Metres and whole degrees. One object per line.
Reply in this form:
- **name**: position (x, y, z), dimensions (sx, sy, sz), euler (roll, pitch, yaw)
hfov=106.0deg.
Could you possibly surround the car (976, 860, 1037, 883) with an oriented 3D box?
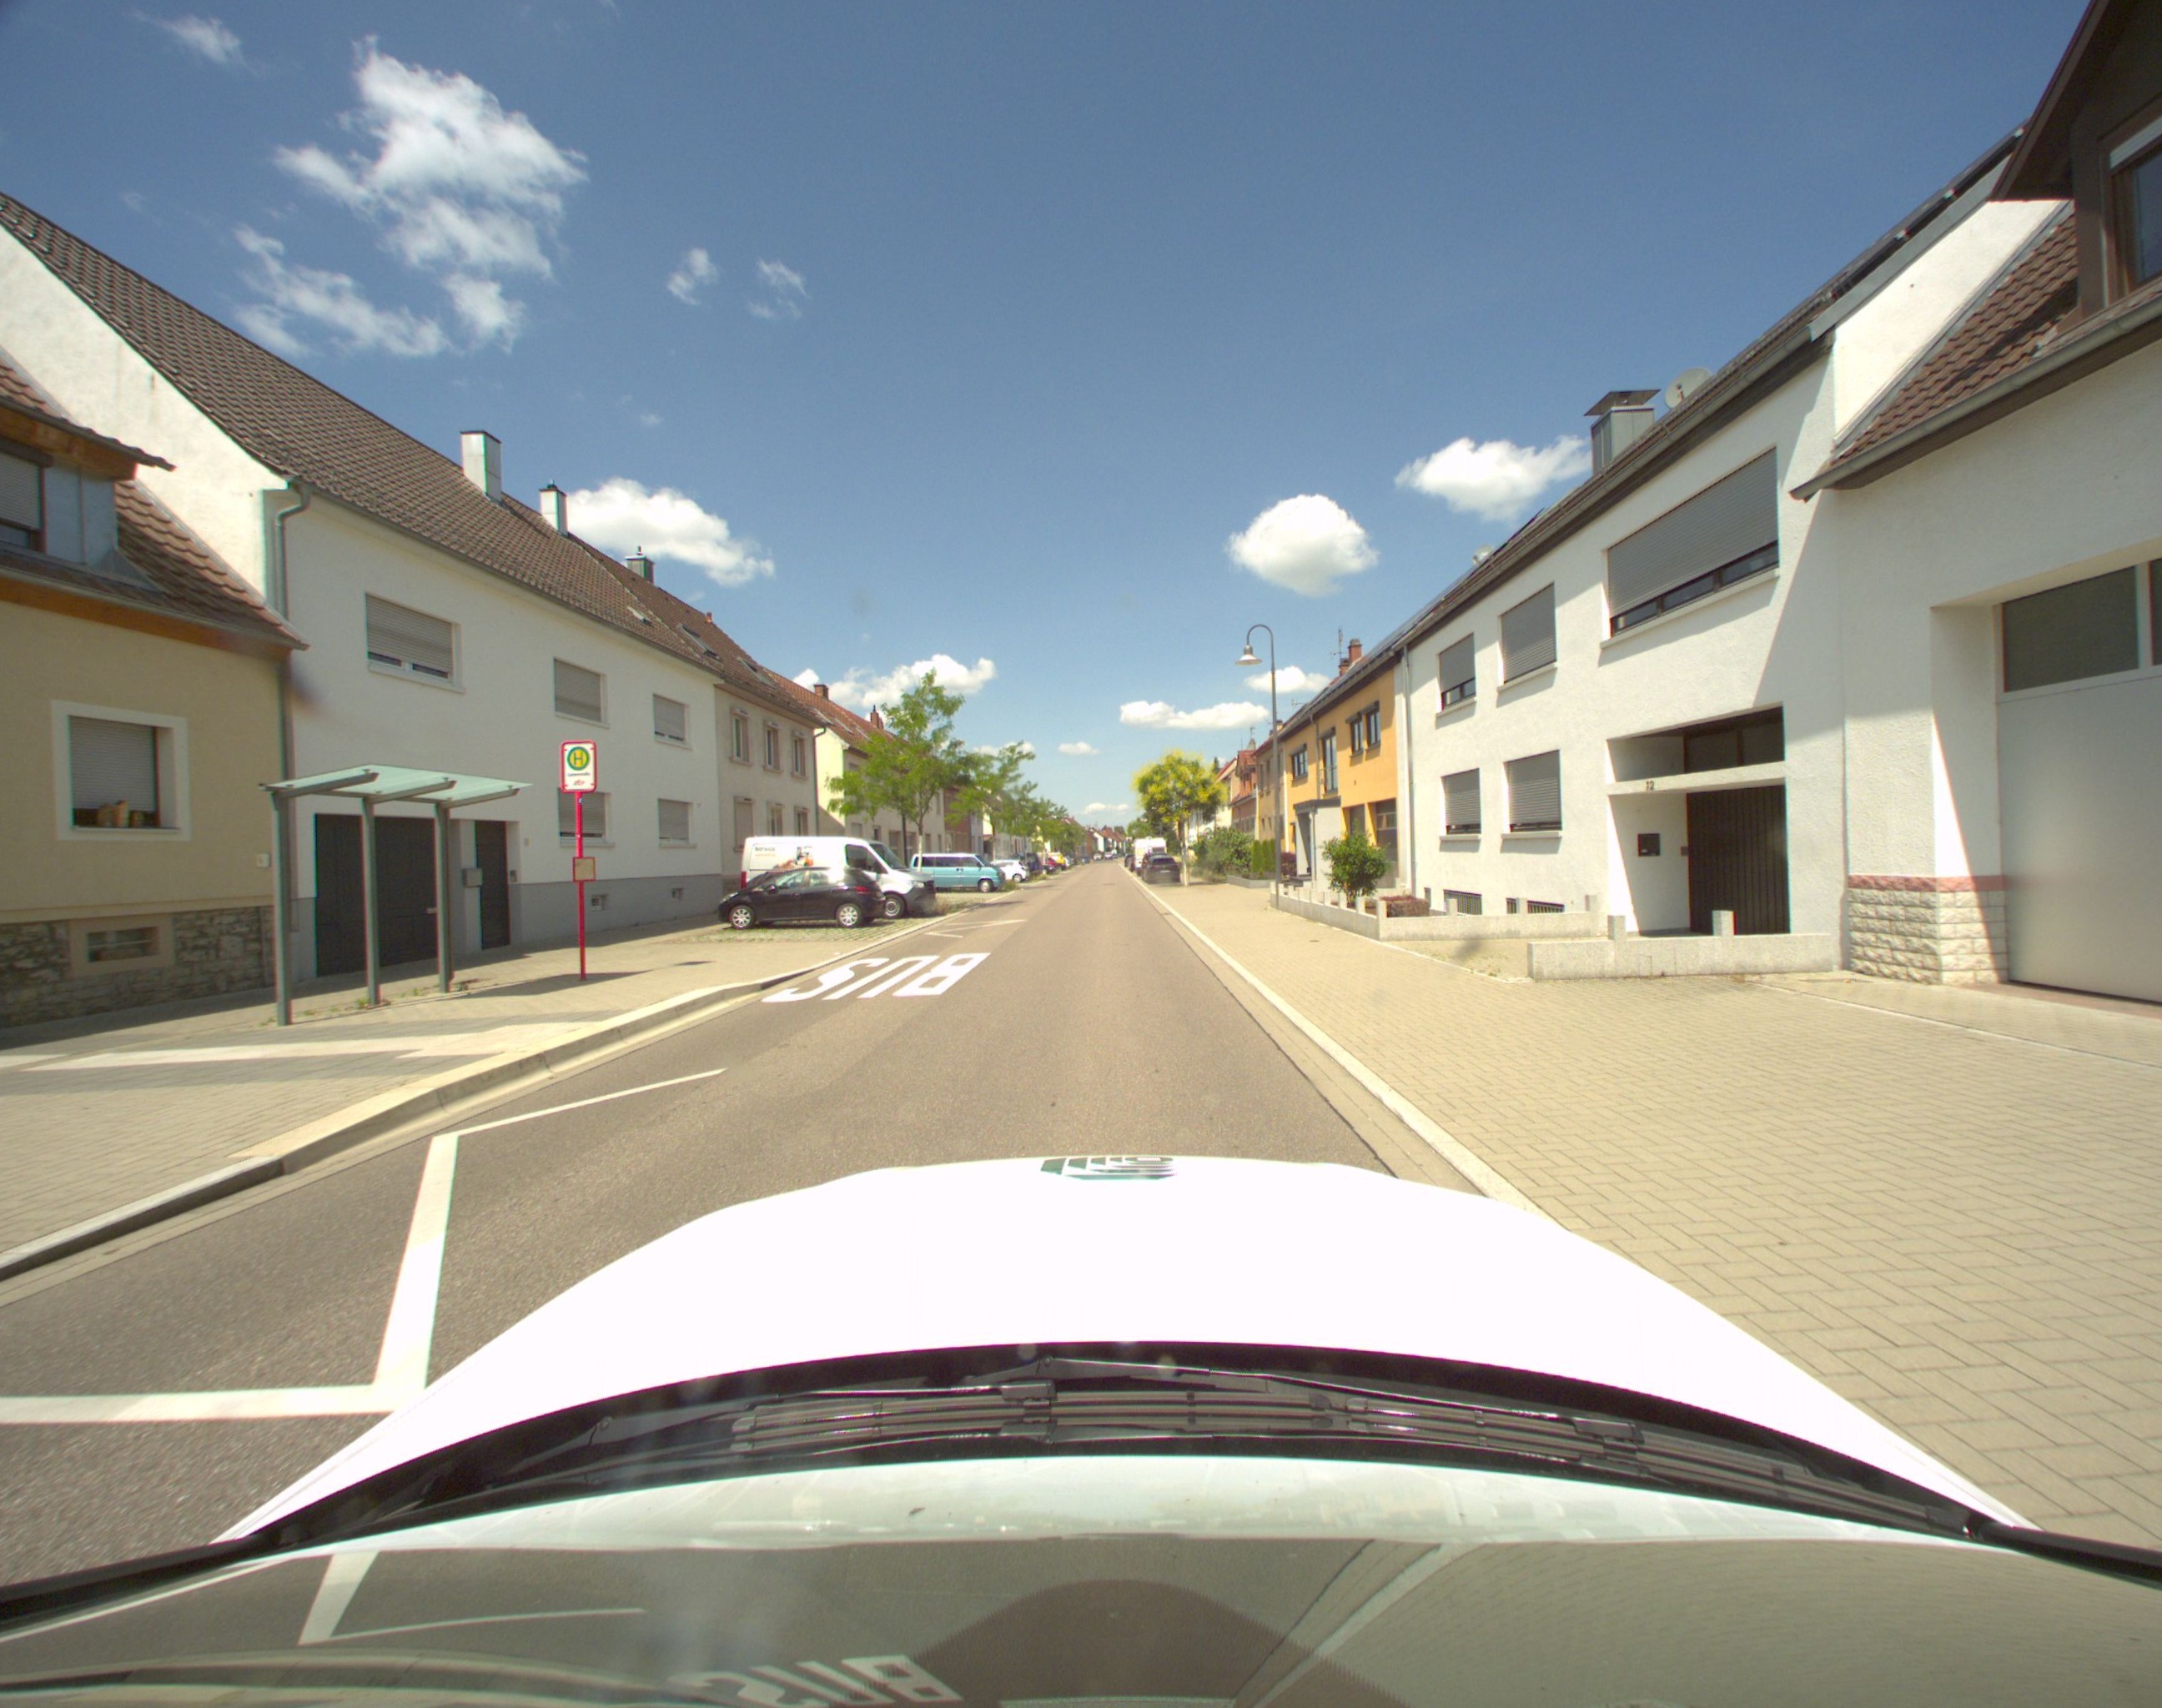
- **car**: position (-5.099, 1.189, 56.167), dimensions (3.899, 1.488, 1.774), euler (-1, 0, 3)

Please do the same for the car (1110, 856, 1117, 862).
- **car**: position (9.496, 1.389, 237.580), dimensions (1.756, 1.523, 4.050), euler (-4, 0, 1)

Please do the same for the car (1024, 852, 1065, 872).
- **car**: position (-4.190, 0.882, 93.892), dimensions (4.491, 2.177, 1.926), euler (-1, 0, 2)

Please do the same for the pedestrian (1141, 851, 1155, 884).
- **pedestrian**: position (3.825, 0.754, 46.800), dimensions (0.713, 1.853, 0.578), euler (-2, -1, 2)

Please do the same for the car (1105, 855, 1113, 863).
- **car**: position (7.220, 1.372, 208.720), dimensions (2.015, 1.950, 4.899), euler (-2, -1, 1)

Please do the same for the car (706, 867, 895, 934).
- **car**: position (-6.803, 1.114, 20.085), dimensions (3.975, 1.446, 1.901), euler (-1, 0, -1)

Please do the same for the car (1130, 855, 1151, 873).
- **car**: position (5.428, 0.930, 74.852), dimensions (1.760, 1.529, 4.009), euler (-2, 0, 2)

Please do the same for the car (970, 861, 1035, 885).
- **car**: position (-5.096, 1.212, 53.205), dimensions (3.899, 1.488, 1.774), euler (-1, 0, 3)

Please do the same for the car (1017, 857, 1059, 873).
- **car**: position (-4.514, 1.142, 85.983), dimensions (4.238, 1.611, 1.843), euler (-1, 0, 1)

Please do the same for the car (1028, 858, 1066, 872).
- **car**: position (-3.799, 1.224, 91.419), dimensions (3.994, 1.459, 1.756), euler (-1, 0, 2)

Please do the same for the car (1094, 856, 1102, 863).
- **car**: position (4.460, 1.416, 209.909), dimensions (1.841, 1.659, 4.005), euler (0, 0, 5)

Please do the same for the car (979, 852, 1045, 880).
- **car**: position (-5.071, 0.887, 60.484), dimensions (4.593, 1.996, 1.955), euler (-1, 0, 3)

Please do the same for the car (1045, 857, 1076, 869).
- **car**: position (-2.834, 1.219, 113.297), dimensions (4.172, 1.569, 1.772), euler (-1, -1, -2)

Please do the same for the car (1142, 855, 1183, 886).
- **car**: position (4.344, 0.857, 43.902), dimensions (1.761, 1.488, 4.296), euler (-2, 0, 0)

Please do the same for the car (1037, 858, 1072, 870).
- **car**: position (-3.448, 1.247, 106.428), dimensions (4.276, 1.468, 1.775), euler (-1, -1, 3)

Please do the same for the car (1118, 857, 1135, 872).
- **car**: position (5.752, 1.247, 101.978), dimensions (1.856, 1.635, 4.452), euler (-4, 0, 4)

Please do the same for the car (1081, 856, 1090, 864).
- **car**: position (0.905, 1.253, 161.052), dimensions (1.810, 1.433, 4.139), euler (2, 1, 0)

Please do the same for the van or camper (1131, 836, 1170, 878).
- **van or camper**: position (5.053, 0.215, 60.026), dimensions (2.464, 2.810, 5.793), euler (-3, 0, 2)

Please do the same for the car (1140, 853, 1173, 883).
- **car**: position (4.526, 0.811, 49.527), dimensions (1.760, 1.705, 4.327), euler (-2, 0, 2)

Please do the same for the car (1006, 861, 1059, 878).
- **car**: position (-4.302, 1.344, 72.856), dimensions (4.507, 1.425, 1.796), euler (-1, 0, 1)

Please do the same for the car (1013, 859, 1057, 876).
- **car**: position (-4.300, 1.234, 76.367), dimensions (4.041, 1.478, 1.775), euler (-1, 0, -1)

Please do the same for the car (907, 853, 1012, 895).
- **car**: position (-5.808, 0.960, 39.352), dimensions (4.658, 1.907, 2.001), euler (-1, -1, 2)

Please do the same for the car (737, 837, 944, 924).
- **car**: position (-6.656, 0.704, 22.984), dimensions (5.150, 2.288, 2.157), euler (-1, 0, -1)
